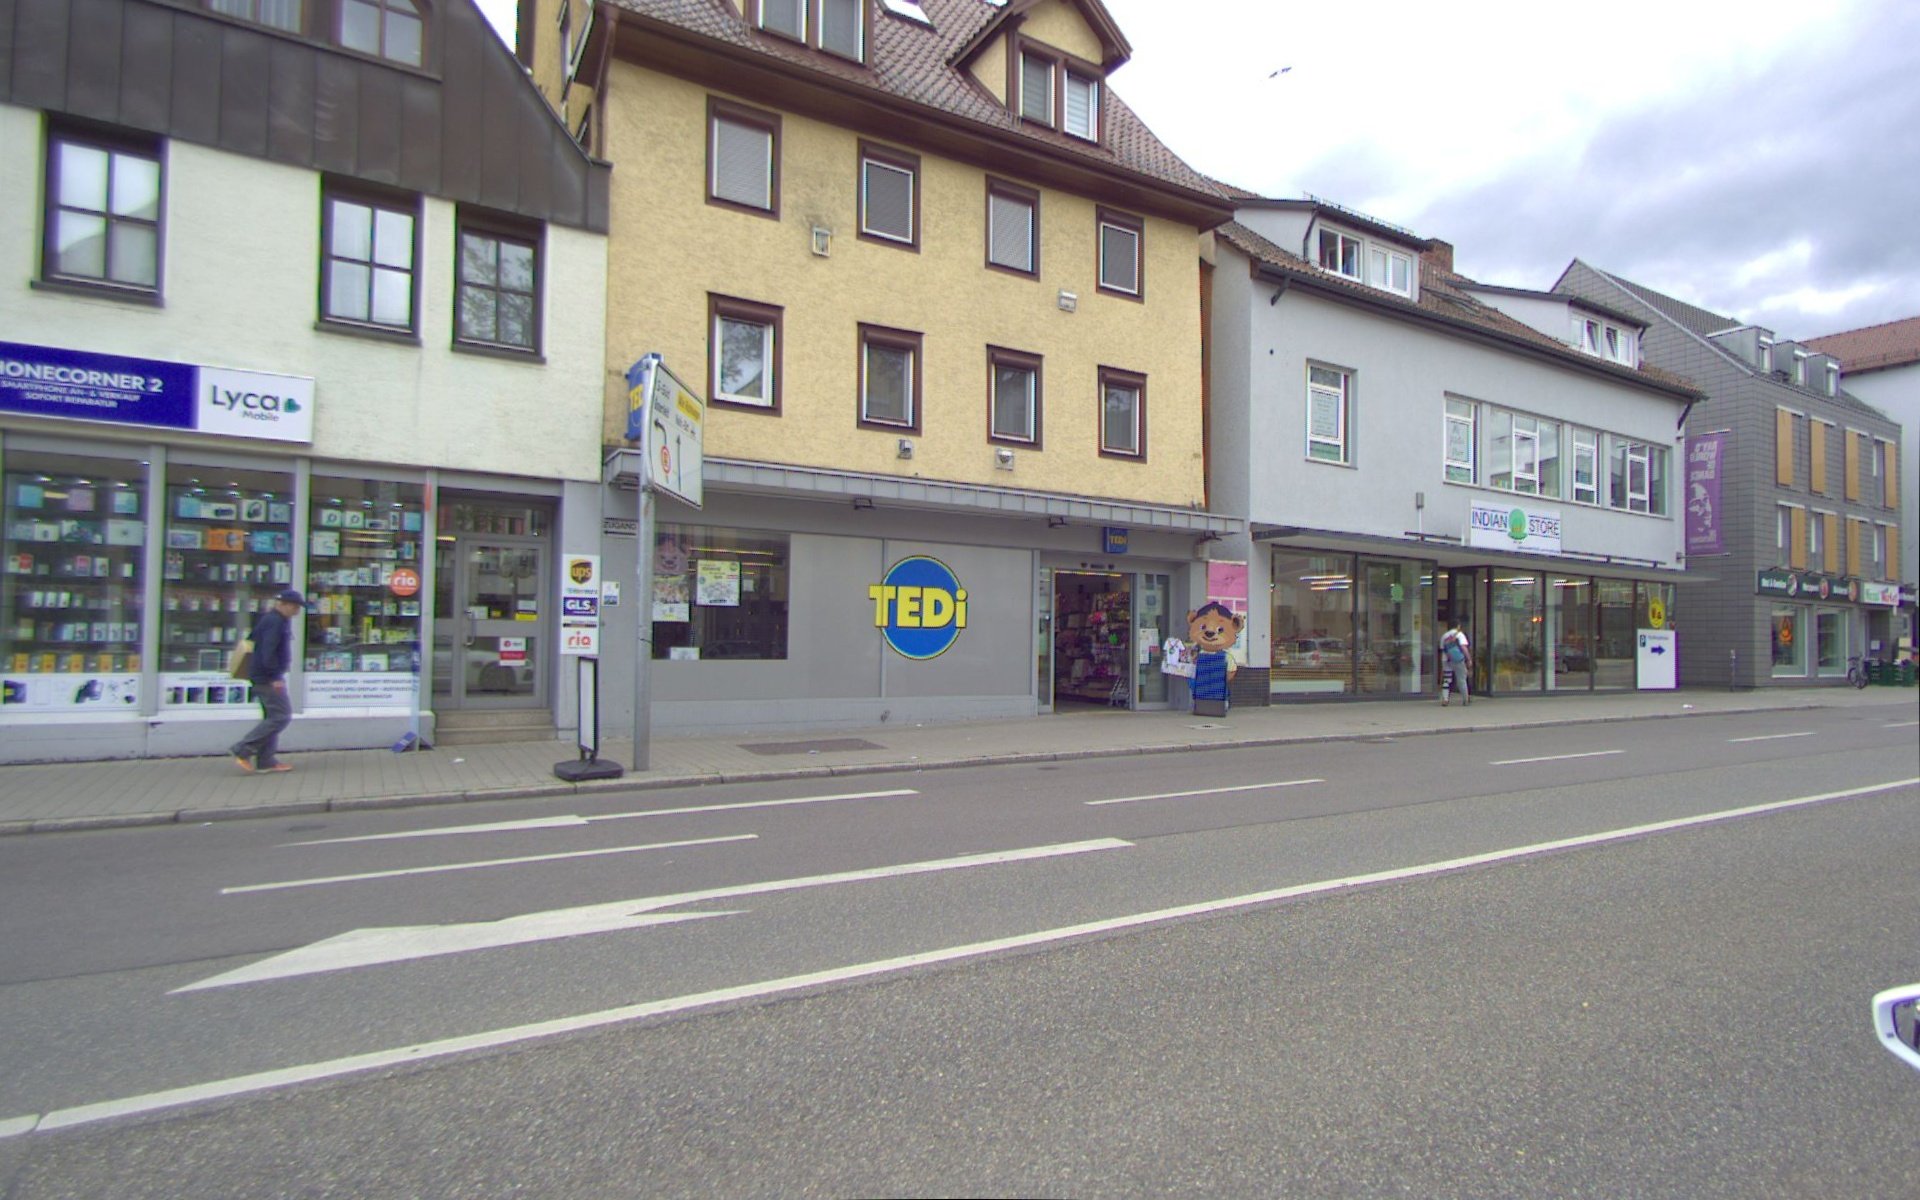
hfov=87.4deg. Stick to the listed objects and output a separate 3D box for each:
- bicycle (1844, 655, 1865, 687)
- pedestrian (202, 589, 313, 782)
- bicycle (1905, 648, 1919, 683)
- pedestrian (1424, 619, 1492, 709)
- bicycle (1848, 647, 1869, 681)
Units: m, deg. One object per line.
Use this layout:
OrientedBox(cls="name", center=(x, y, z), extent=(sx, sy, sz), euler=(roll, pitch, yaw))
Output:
OrientedBox(cls="bicycle", center=(28.182, 2.234, 31.632), extent=(1.472, 0.966, 0.323), euler=(2, -2, -42))
OrientedBox(cls="pedestrian", center=(-6.653, 0.779, 9.548), extent=(0.766, 1.736, 0.683), euler=(2, 0, -30))
OrientedBox(cls="bicycle", center=(33.913, 2.295, 35.467), extent=(1.807, 1.201, 0.384), euler=(2, -2, -34))
OrientedBox(cls="pedestrian", center=(9.963, 1.261, 20.119), extent=(0.969, 1.728, 0.750), euler=(1, 1, -31))
OrientedBox(cls="bicycle", center=(31.253, 2.226, 34.933), extent=(1.280, 1.142, 0.383), euler=(2, -2, -41))
